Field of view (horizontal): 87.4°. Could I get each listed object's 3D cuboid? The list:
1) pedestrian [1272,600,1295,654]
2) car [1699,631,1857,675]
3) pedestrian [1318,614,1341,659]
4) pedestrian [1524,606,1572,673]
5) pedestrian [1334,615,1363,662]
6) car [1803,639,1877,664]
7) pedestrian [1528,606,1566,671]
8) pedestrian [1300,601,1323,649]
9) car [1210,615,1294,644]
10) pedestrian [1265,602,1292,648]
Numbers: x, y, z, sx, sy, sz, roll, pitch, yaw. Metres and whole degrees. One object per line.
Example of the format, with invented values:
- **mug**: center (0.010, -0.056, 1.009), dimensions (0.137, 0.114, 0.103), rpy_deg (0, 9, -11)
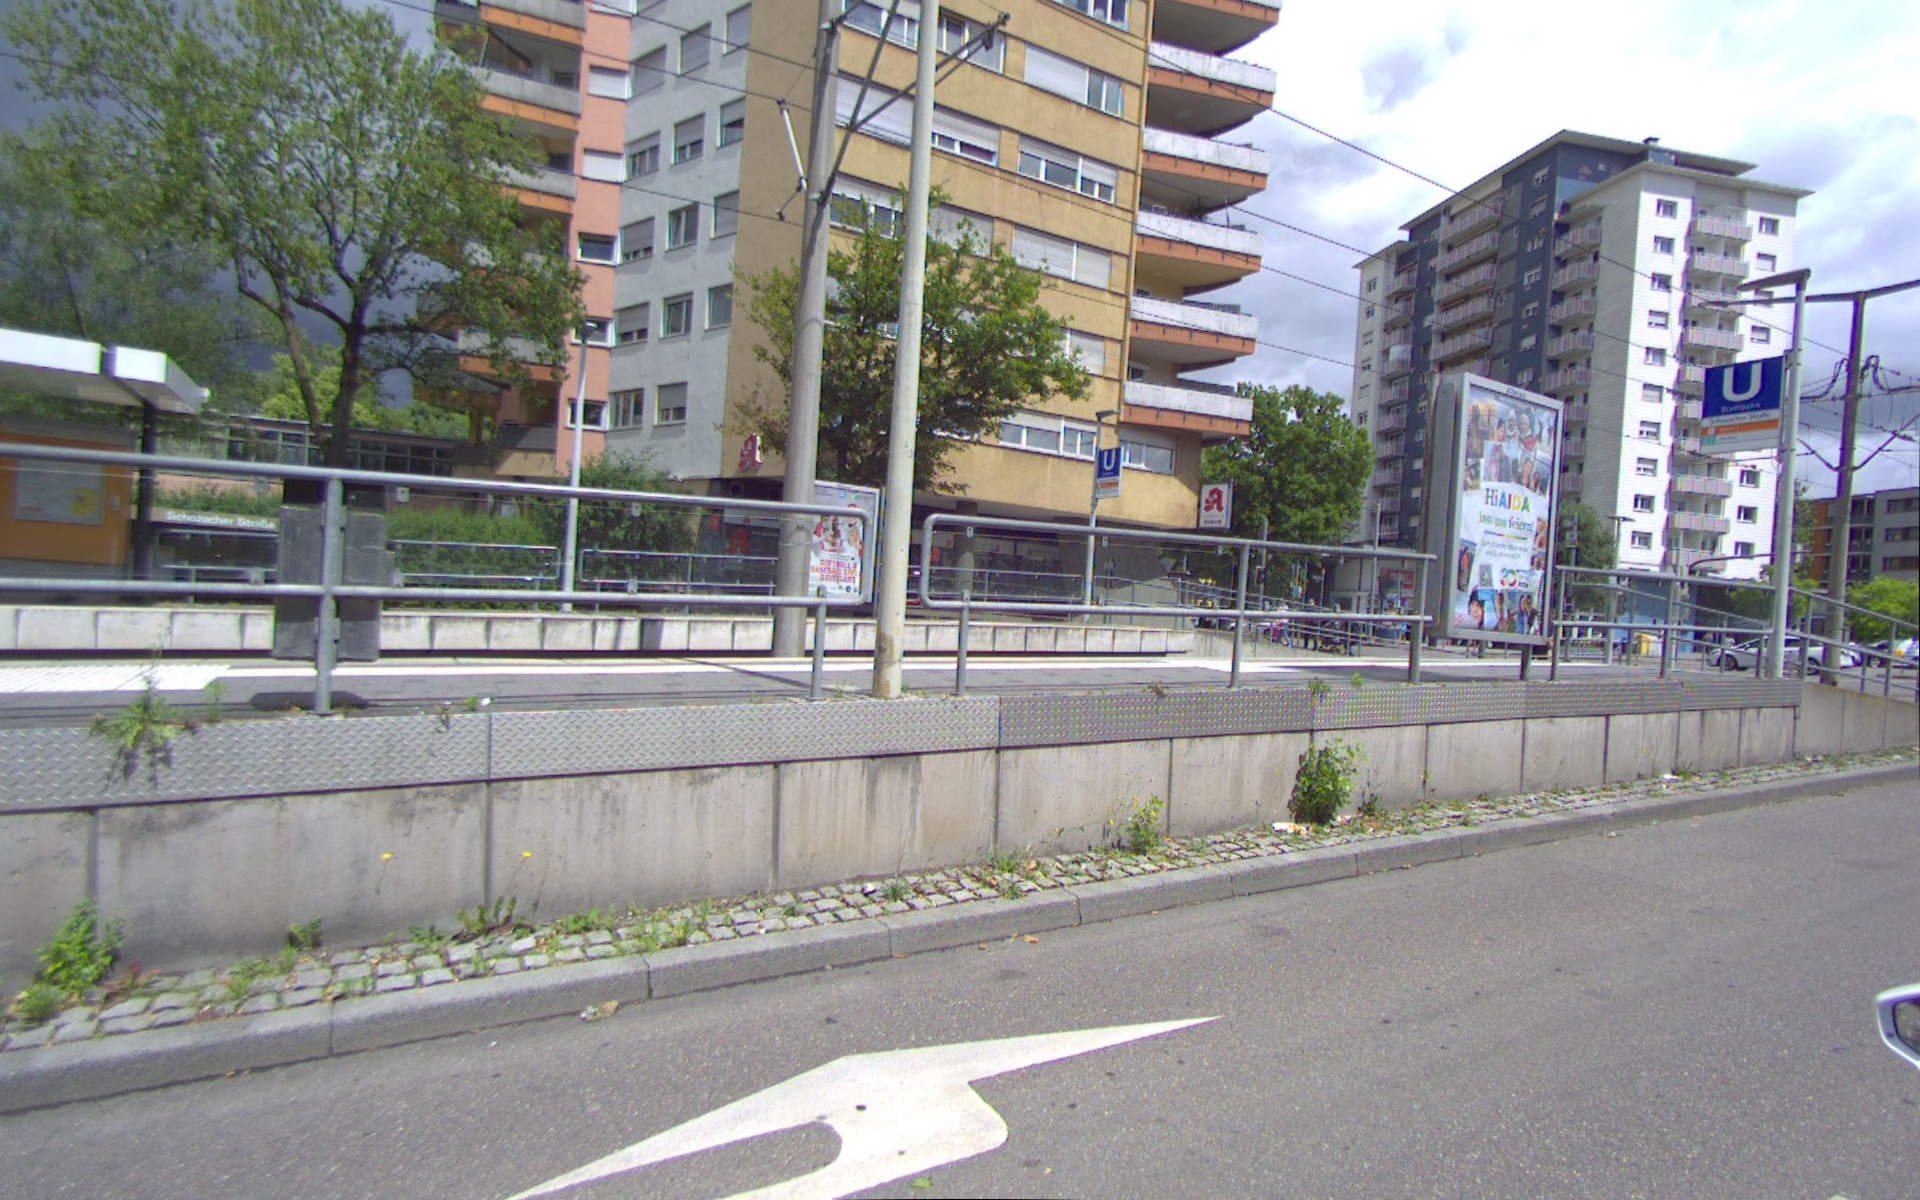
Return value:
- **pedestrian**: center (10.770, 0.889, 33.435), dimensions (0.668, 1.729, 0.827), rpy_deg (2, 0, 17)
- **car**: center (32.916, 2.094, 40.559), dimensions (1.981, 1.500, 4.607), rpy_deg (2, -1, -36)
- **pedestrian**: center (11.540, 1.129, 31.358), dimensions (0.543, 1.360, 0.669), rpy_deg (2, 0, 12)
- **pedestrian**: center (15.697, 1.039, 26.825), dimensions (0.843, 1.719, 0.689), rpy_deg (2, 0, 7)
- **pedestrian**: center (11.737, 1.145, 30.333), dimensions (0.677, 1.360, 0.859), rpy_deg (2, 0, 30)
- **car**: center (60.323, 3.506, 68.905), dimensions (1.602, 1.482, 3.576), rpy_deg (2, 0, -37)
- **pedestrian**: center (15.286, 1.007, 26.167), dimensions (0.689, 1.654, 0.638), rpy_deg (1, -1, 16)
- **pedestrian**: center (11.995, 0.842, 34.269), dimensions (0.611, 1.599, 0.861), rpy_deg (2, 0, 13)
- **car**: center (17.408, 1.734, 60.047), dimensions (1.929, 1.546, 4.533), rpy_deg (2, -1, -40)
- **pedestrian**: center (11.287, 0.870, 35.573), dimensions (0.759, 1.604, 0.610), rpy_deg (2, 0, 6)
